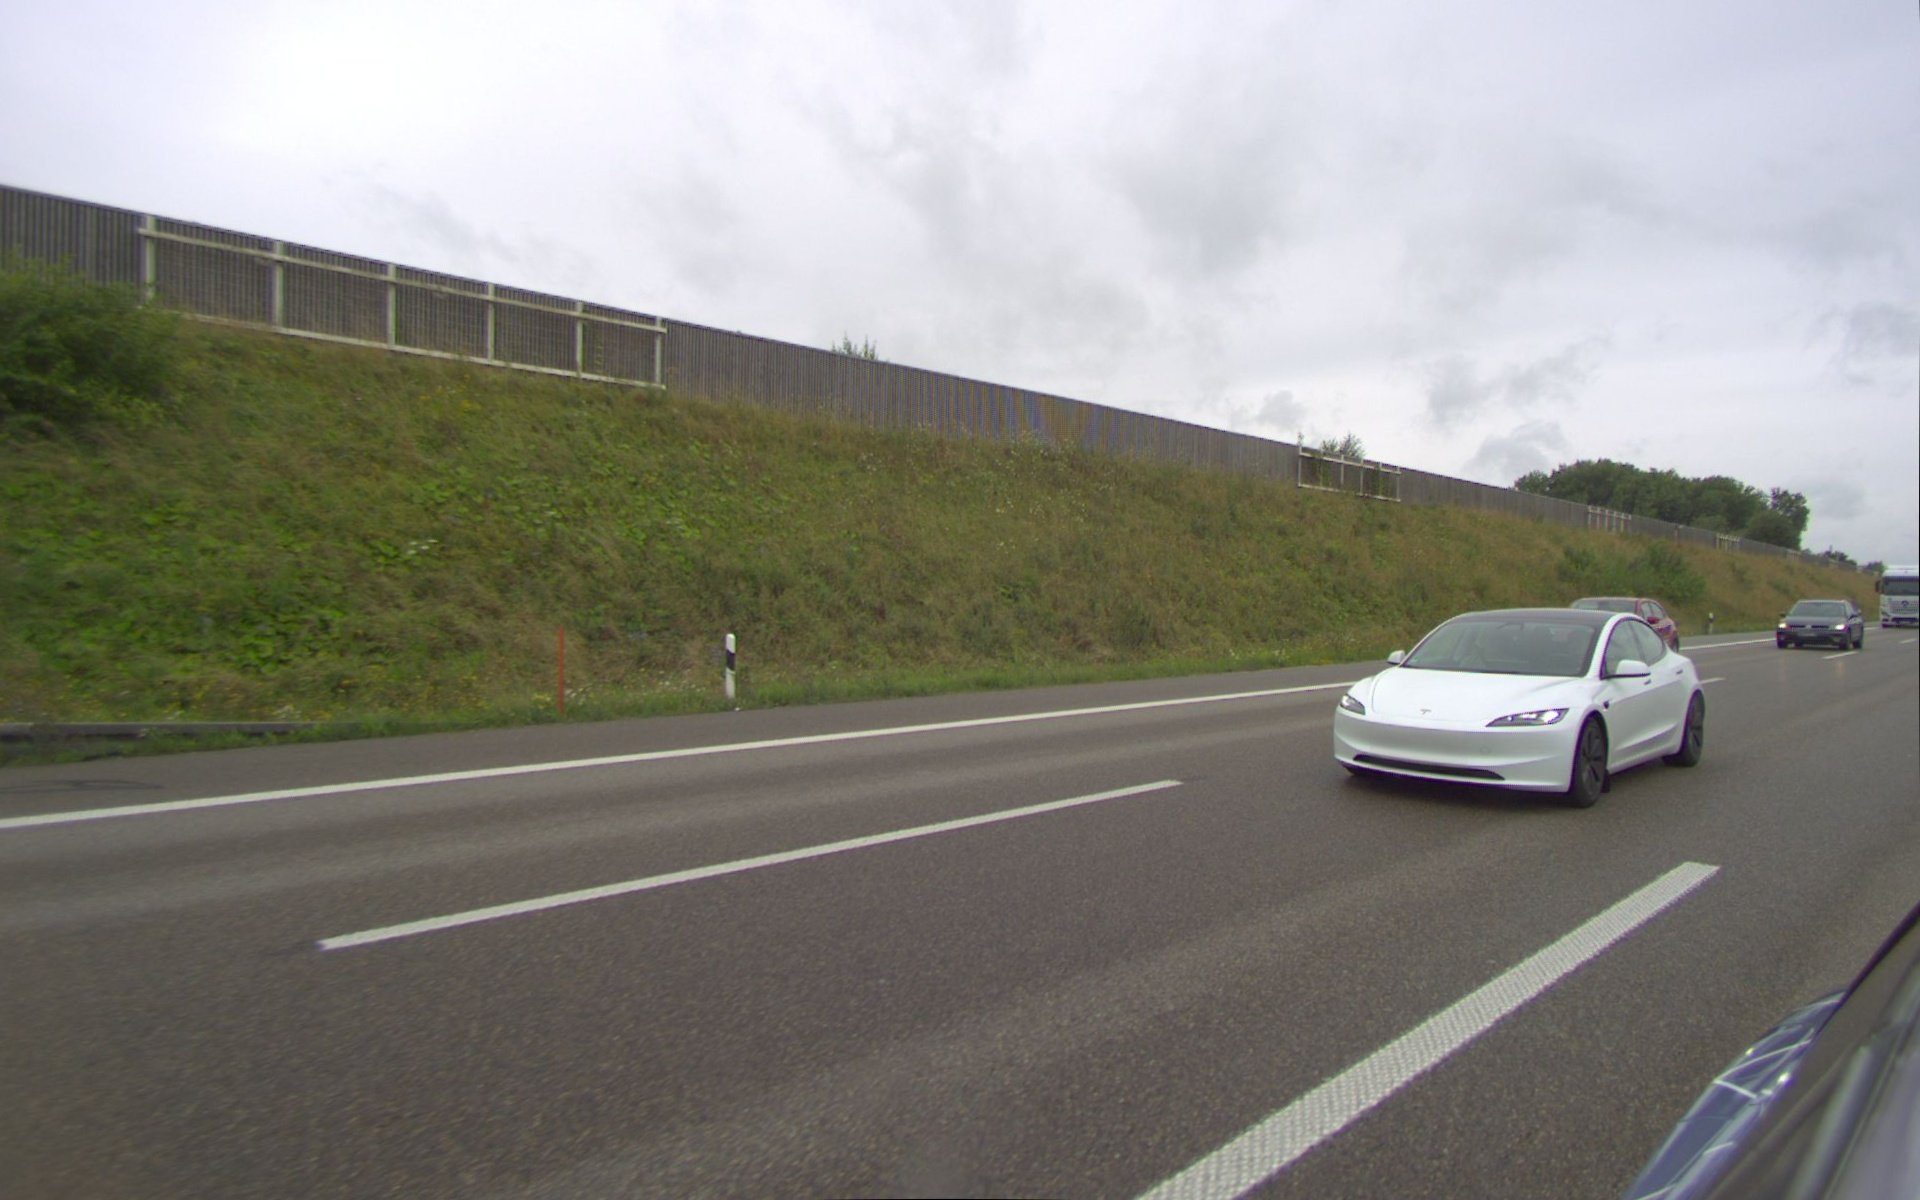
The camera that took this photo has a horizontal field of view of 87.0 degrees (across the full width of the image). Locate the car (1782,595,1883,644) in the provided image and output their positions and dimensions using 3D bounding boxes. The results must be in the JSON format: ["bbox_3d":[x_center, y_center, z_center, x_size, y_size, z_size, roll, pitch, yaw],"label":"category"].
[{"bbox_3d":[29.194,0.597,33.822,4.407,1.508,1.927,-1,0,-41],"label":"car"}]

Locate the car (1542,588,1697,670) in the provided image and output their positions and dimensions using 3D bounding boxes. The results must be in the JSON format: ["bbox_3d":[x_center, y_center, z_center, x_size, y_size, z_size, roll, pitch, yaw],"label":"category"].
[{"bbox_3d":[13.987,0.537,21.385,3.933,1.555,1.875,-1,0,-43],"label":"car"}]

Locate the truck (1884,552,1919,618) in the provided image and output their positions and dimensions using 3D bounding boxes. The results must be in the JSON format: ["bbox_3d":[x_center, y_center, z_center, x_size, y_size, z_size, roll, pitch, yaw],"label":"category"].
[{"bbox_3d":[61.585,-0.949,64.798,6.840,4.077,3.085,-1,0,-43],"label":"truck"}]

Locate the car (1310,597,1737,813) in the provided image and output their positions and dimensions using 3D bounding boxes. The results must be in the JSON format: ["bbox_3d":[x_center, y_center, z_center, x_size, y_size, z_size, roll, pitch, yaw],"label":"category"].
[{"bbox_3d":[5.154,0.681,8.925,4.731,1.380,1.876,-1,0,-42],"label":"car"}]

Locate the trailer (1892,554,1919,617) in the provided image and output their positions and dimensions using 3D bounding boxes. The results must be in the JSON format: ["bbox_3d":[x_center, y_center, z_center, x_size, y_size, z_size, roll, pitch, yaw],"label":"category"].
[{"bbox_3d":[67.915,-1.034,70.691,14.967,4.077,3.085,-1,0,-43],"label":"trailer"}]
